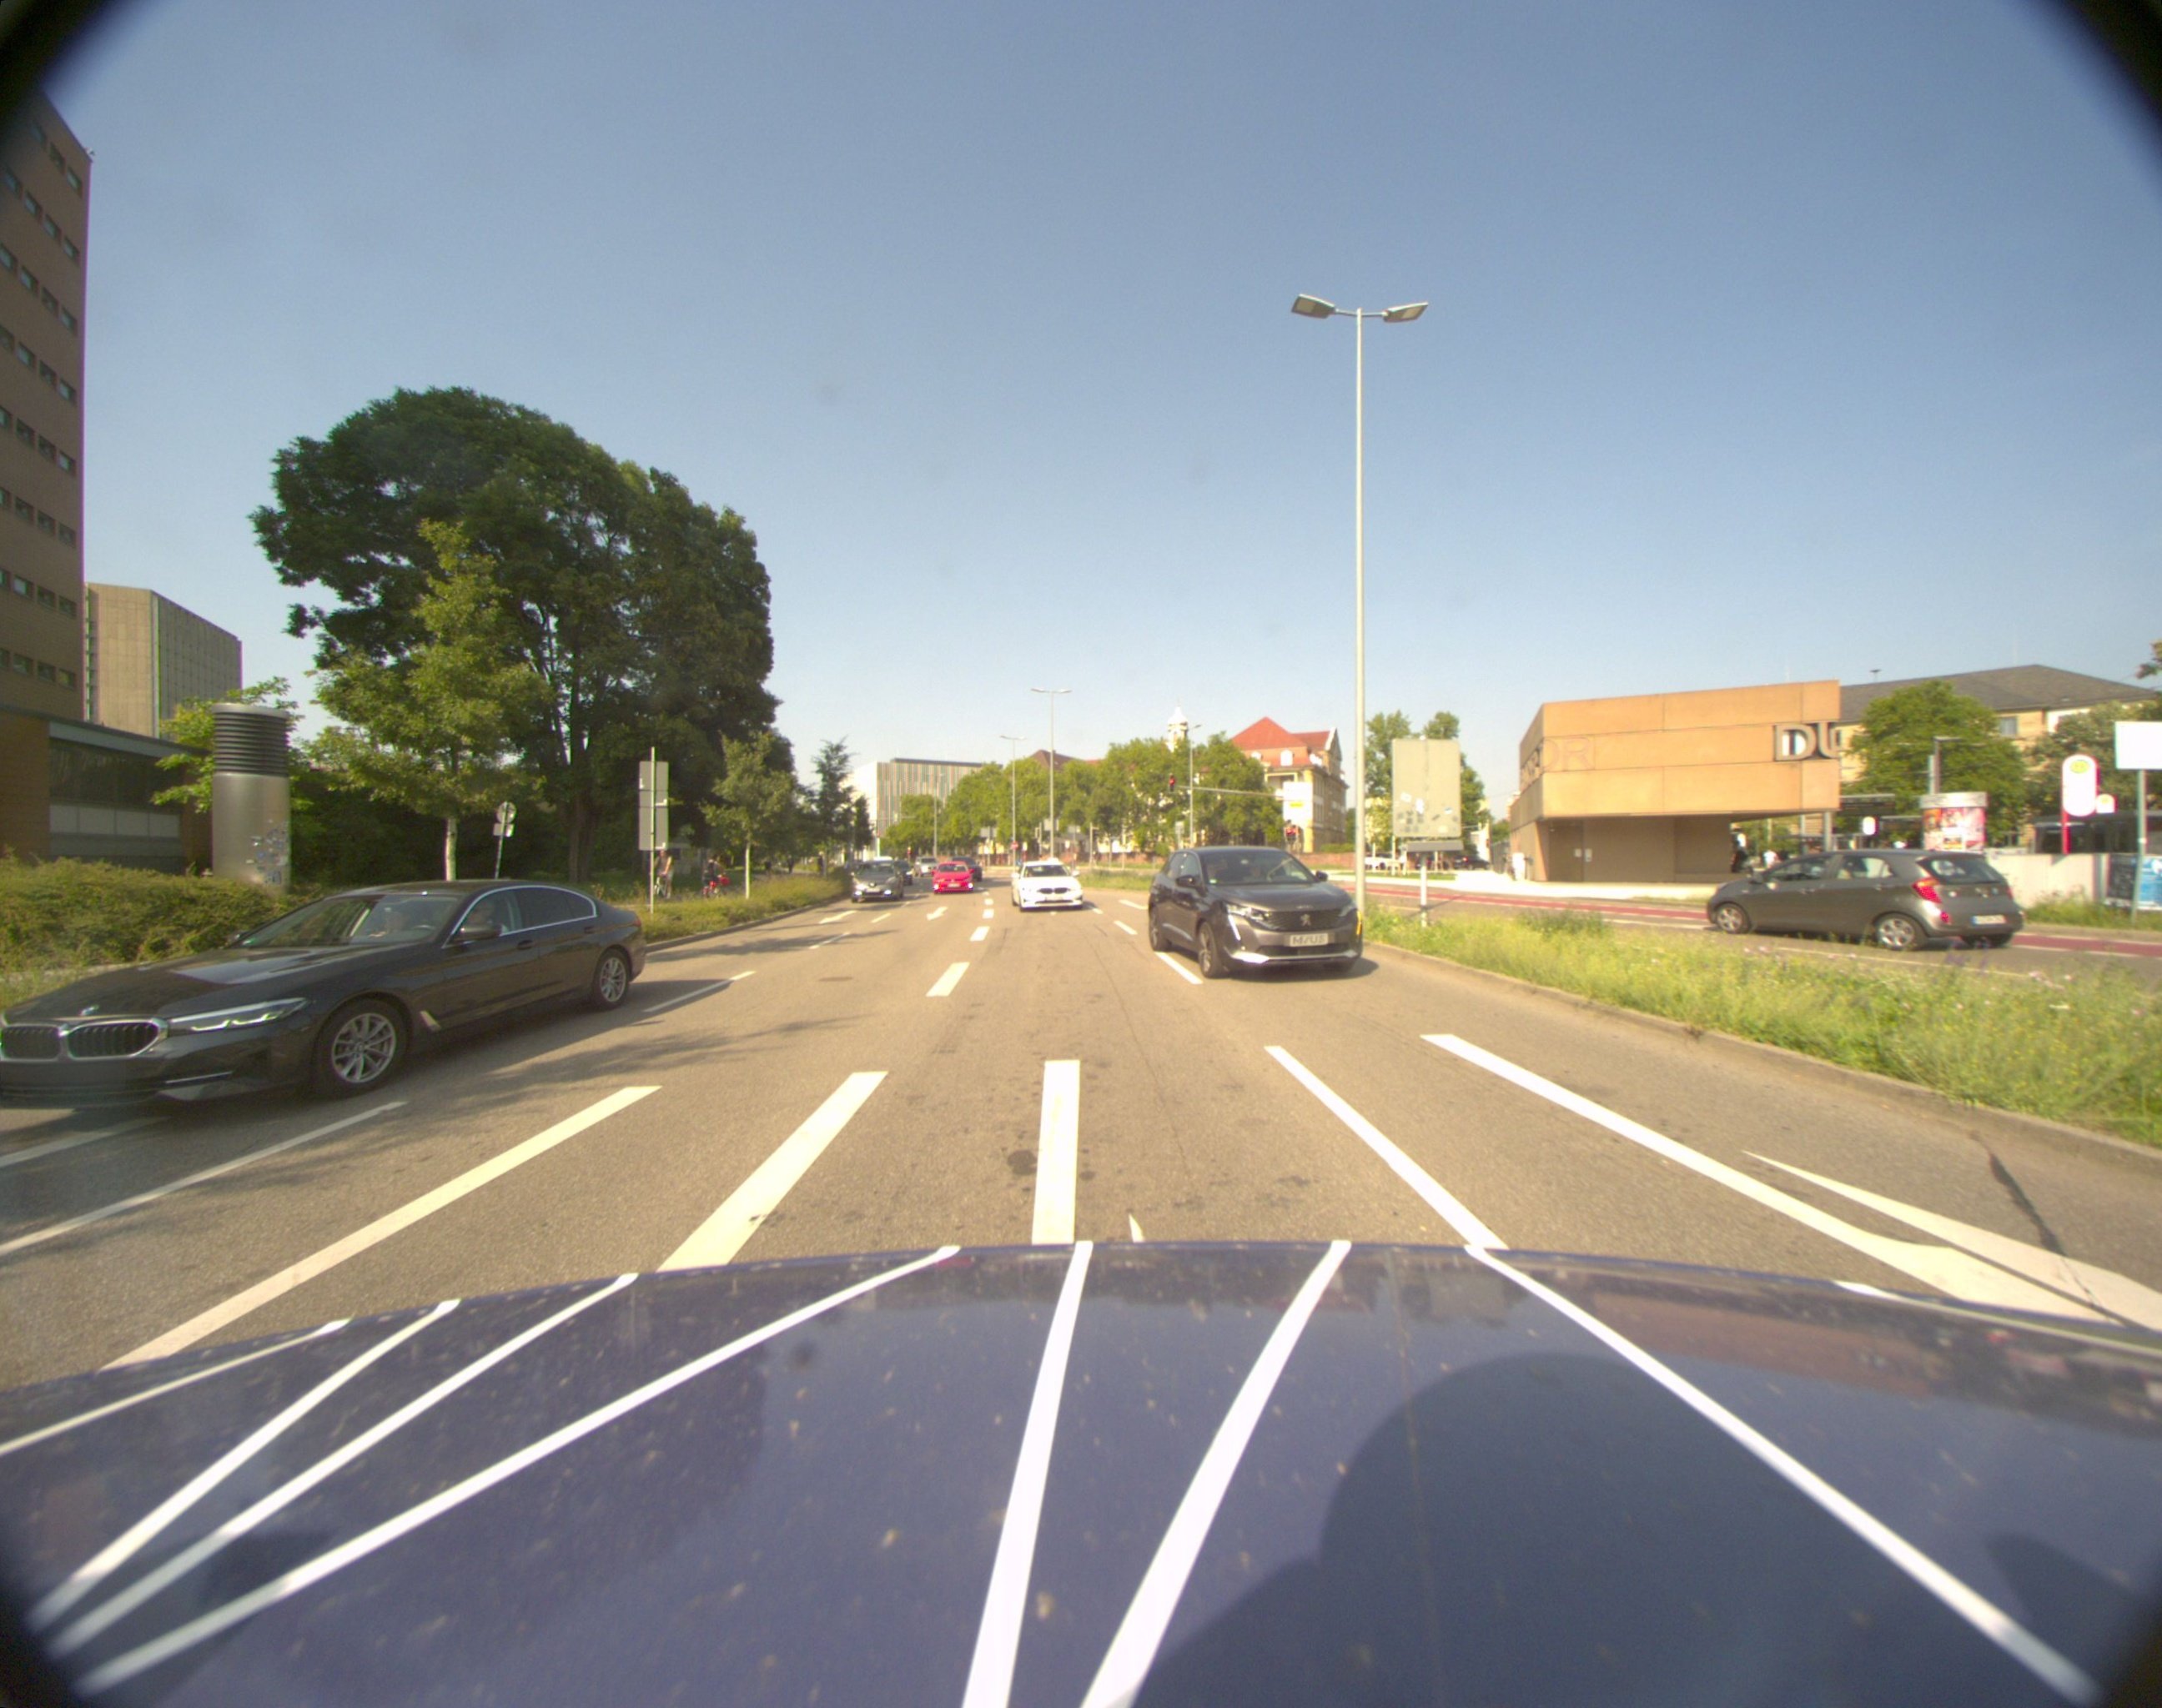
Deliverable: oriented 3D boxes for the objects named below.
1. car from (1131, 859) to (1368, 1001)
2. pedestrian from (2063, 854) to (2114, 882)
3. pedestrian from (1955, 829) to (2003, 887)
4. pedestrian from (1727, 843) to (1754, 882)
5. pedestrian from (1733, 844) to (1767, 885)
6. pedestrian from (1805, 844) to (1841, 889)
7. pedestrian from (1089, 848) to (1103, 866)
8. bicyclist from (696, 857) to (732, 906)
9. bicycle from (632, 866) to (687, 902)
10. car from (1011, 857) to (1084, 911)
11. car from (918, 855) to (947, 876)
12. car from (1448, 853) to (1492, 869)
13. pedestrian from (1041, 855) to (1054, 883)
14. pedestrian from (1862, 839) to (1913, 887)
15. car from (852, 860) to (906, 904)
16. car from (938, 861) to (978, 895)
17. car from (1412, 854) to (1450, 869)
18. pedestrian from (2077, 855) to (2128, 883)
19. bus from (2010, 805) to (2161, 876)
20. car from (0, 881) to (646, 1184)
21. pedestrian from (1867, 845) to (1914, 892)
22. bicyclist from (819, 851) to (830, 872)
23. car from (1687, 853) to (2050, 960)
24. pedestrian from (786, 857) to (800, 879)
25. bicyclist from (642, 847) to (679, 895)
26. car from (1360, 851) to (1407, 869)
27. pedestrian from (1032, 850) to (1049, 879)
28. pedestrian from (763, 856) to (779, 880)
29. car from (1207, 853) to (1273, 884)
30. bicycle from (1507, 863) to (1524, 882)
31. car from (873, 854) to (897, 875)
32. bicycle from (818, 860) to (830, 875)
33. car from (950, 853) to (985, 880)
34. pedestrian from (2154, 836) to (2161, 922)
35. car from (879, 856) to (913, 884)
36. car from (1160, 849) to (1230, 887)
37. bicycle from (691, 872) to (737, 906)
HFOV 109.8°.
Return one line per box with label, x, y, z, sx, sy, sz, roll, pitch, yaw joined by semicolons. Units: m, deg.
car;2.000;0.828;10.425;1.688;1.483;4.368;0;0;-9
pedestrian;42.332;0.578;31.939;1.028;1.126;0.739;0;1;18
pedestrian;28.190;0.130;23.871;0.699;1.790;0.781;0;1;24
pedestrian;30.040;0.373;34.616;0.717;1.727;0.858;0;1;25
pedestrian;28.131;0.432;31.972;0.864;1.695;0.733;0;1;23
pedestrian;27.547;0.462;28.221;0.717;1.621;0.858;0;1;25
pedestrian;1.693;0.365;86.163;1.080;2.002;1.316;-1;1;-22
bicyclist;-11.571;0.849;23.968;0.721;1.504;1.004;0;1;-7
bicycle;-14.095;0.990;25.500;0.773;1.111;2.302;-1;0;-7
car;-1.134;0.843;23.496;1.784;1.474;4.529;0;0;-9
car;-13.068;1.007;66.666;1.785;1.710;4.527;-3;0;-18
car;40.860;0.692;79.720;4.379;1.623;1.995;0;0;-29
pedestrian;-2.009;0.878;45.918;0.669;1.689;0.691;0;0;-13
pedestrian;28.282;0.306;26.655;0.990;1.663;0.865;0;1;-14
car;-8.047;1.068;30.594;1.784;1.596;4.417;-1;0;-11
car;-5.836;1.078;35.615;1.688;1.483;4.368;0;0;-11
car;35.347;0.749;76.753;3.856;1.489;1.621;-1;1;-31
pedestrian;41.903;0.604;31.181;1.028;1.126;0.739;0;1;18
bus;48.088;-0.582;33.990;3.290;2.960;12.820;0;0;27
car;-5.824;1.065;6.484;1.687;1.483;4.672;-1;0;-3
pedestrian;27.498;0.489;25.822;0.863;1.550;0.992;0;1;33
bicyclist;-20.137;0.587;59.595;0.774;1.666;0.923;-1;1;-17
car;12.276;0.710;12.246;1.894;1.443;3.673;0;0;-6
pedestrian;-24.235;1.155;63.931;0.961;1.772;1.001;2;0;-15
bicyclist;-14.107;0.564;25.512;0.773;1.584;0.923;-1;1;-7
car;29.042;0.549;72.947;4.379;1.624;1.995;0;0;-31
pedestrian;-2.290;0.589;43.111;0.667;1.644;0.780;0;0;24
pedestrian;-18.768;0.821;46.005;0.727;1.435;0.856;0;1;-14
car;7.852;0.686;37.848;1.819;1.425;4.221;0;0;-9
bicycle;20.815;0.872;36.405;0.591;0.833;1.550;-3;-2;28
car;-18.688;0.943;72.237;1.690;1.930;4.364;0;0;-22
bicycle;-20.118;1.023;59.565;0.774;1.111;2.300;-1;0;-17
car;-7.526;0.797;50.207;1.785;1.682;4.527;-1;0;-15
pedestrian;22.744;0.517;15.523;0.699;1.790;0.782;0;1;34
car;-11.482;0.956;47.152;1.942;1.597;4.528;-1;-1;-14
car;5.186;0.596;35.139;1.700;1.608;4.456;0;0;-13
bicycle;-11.569;1.089;23.997;0.721;0.954;1.920;0;0;-7
